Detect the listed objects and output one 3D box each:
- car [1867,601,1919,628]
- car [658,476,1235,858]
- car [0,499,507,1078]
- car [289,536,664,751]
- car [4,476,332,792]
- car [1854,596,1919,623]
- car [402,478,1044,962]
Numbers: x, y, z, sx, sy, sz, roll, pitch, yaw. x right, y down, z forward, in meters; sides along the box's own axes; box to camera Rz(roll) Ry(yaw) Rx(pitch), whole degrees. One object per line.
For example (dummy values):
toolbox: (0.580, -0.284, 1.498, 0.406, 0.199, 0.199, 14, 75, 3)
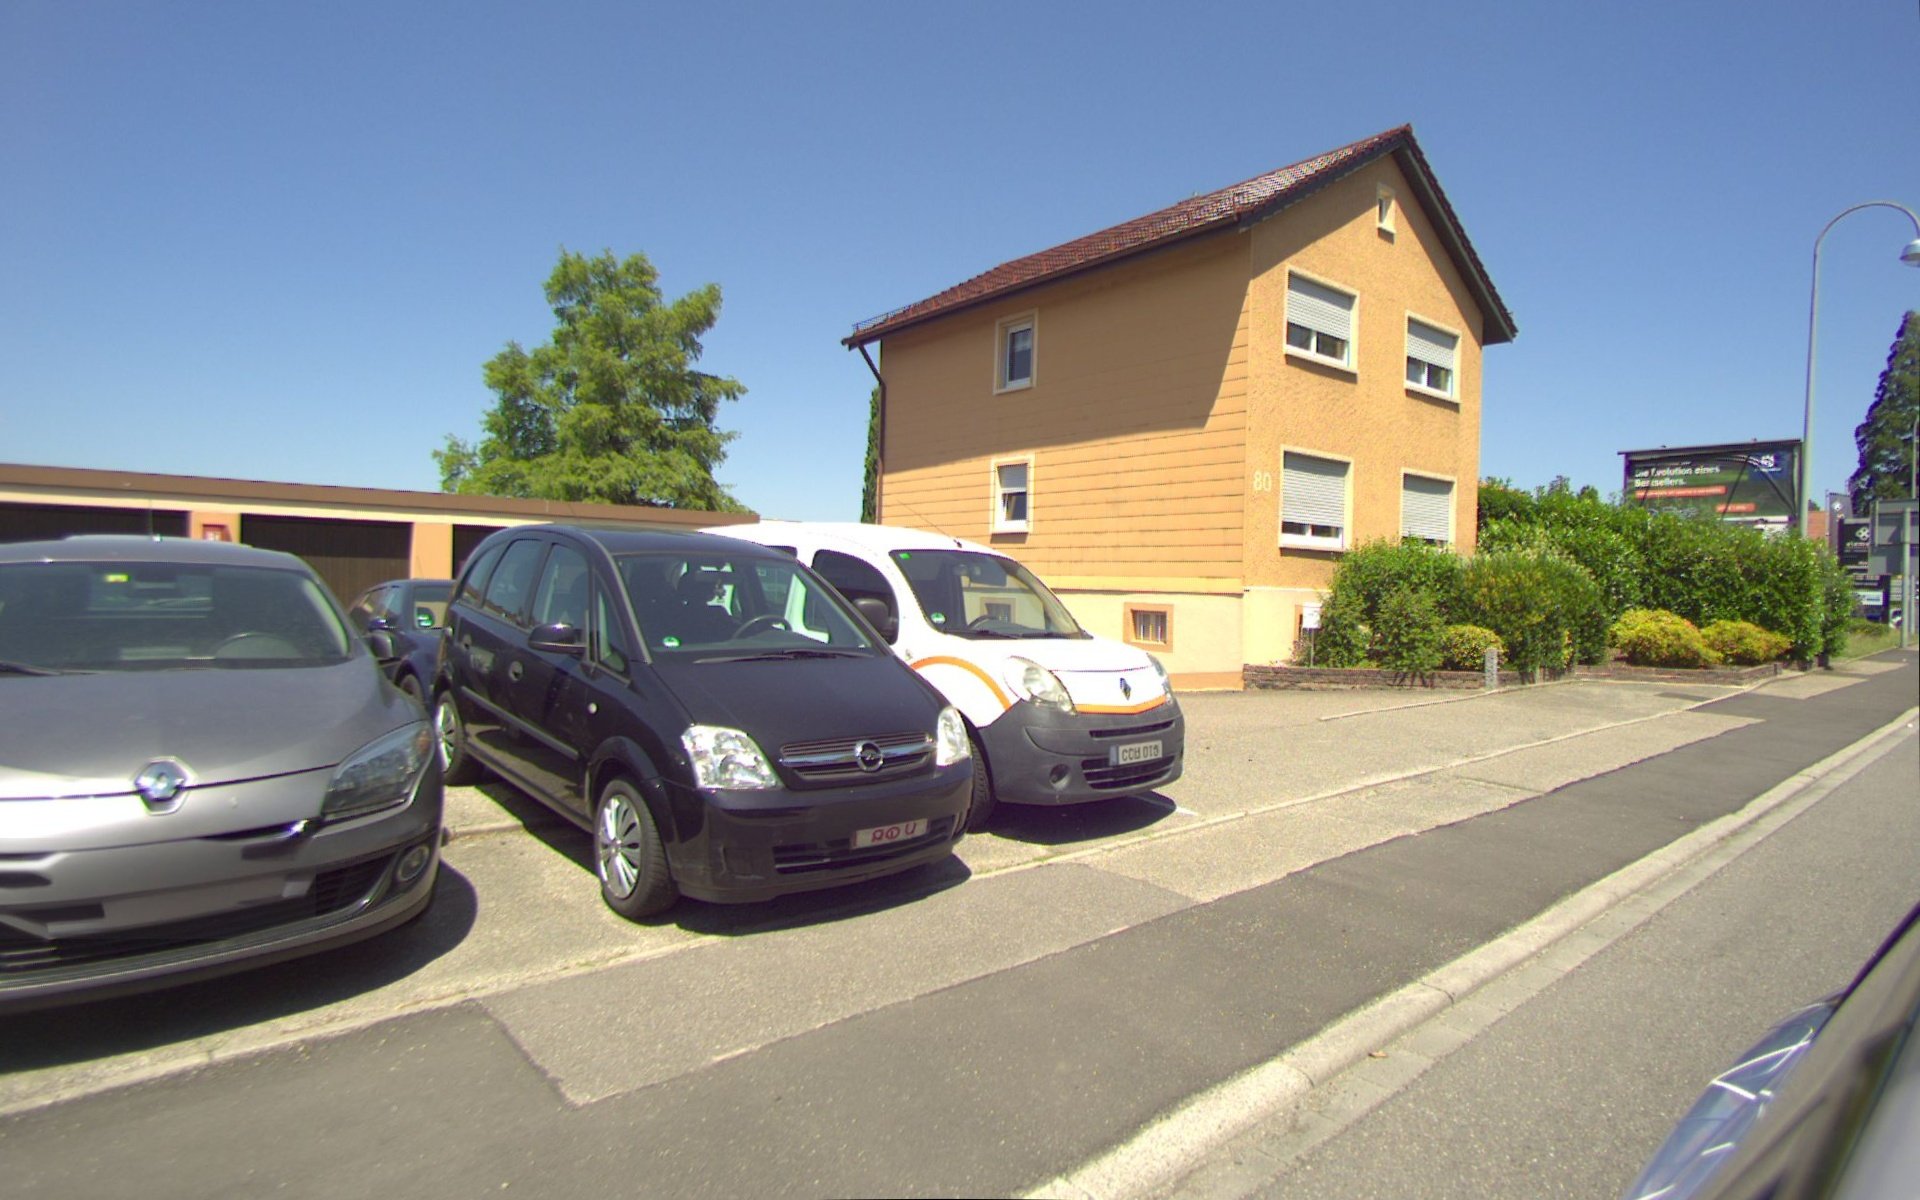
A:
car: (51.292, 0.776, 54.355, 1.598, 1.400, 3.636, -1, 1, -39)
car: (-0.329, 0.310, 7.294, 4.135, 1.962, 1.779, 1, 1, 45)
car: (-3.458, 0.436, 4.366, 1.800, 1.528, 3.801, 0, 2, -39)
car: (-4.408, 0.365, 8.989, 3.605, 1.487, 1.917, -3, -2, 45)
car: (-6.222, 0.262, 8.033, 1.658, 1.862, 3.901, 0, -2, -39)
car: (56.654, 0.551, 61.268, 1.598, 1.570, 3.636, 0, 1, -40)
car: (-1.569, 0.359, 5.574, 1.734, 1.701, 3.880, 0, 2, -43)
